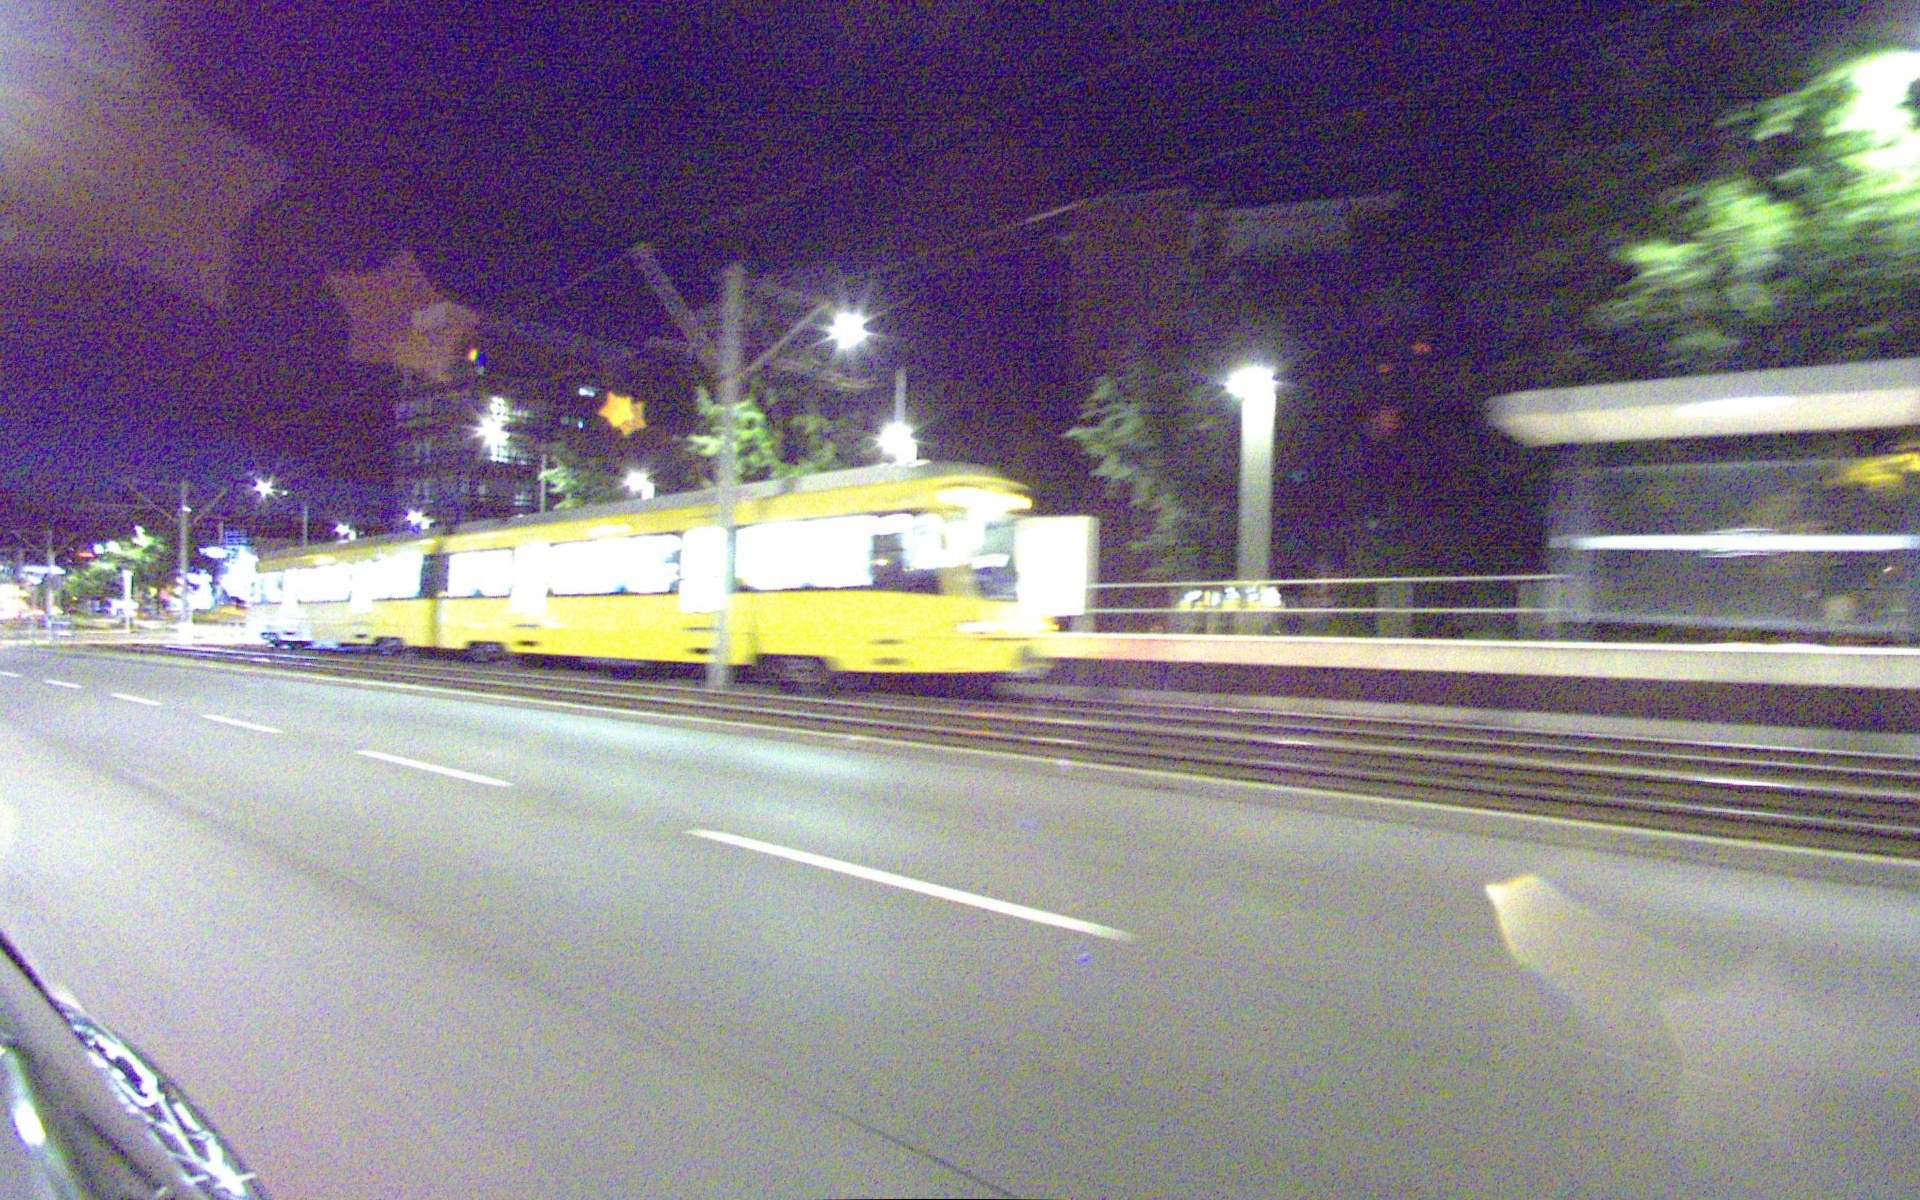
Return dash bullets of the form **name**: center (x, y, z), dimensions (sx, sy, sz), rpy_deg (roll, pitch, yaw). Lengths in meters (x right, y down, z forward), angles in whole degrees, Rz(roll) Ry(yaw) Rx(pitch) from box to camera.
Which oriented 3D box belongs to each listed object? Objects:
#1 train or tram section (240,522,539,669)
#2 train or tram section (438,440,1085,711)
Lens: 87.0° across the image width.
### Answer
- **train or tram section**: center (-20.108, -0.008, 34.247), dimensions (19.356, 3.875, 2.709), rpy_deg (-1, -1, 42)
- **train or tram section**: center (-5.875, -0.237, 21.575), dimensions (18.661, 3.856, 2.730), rpy_deg (-1, -1, 41)
